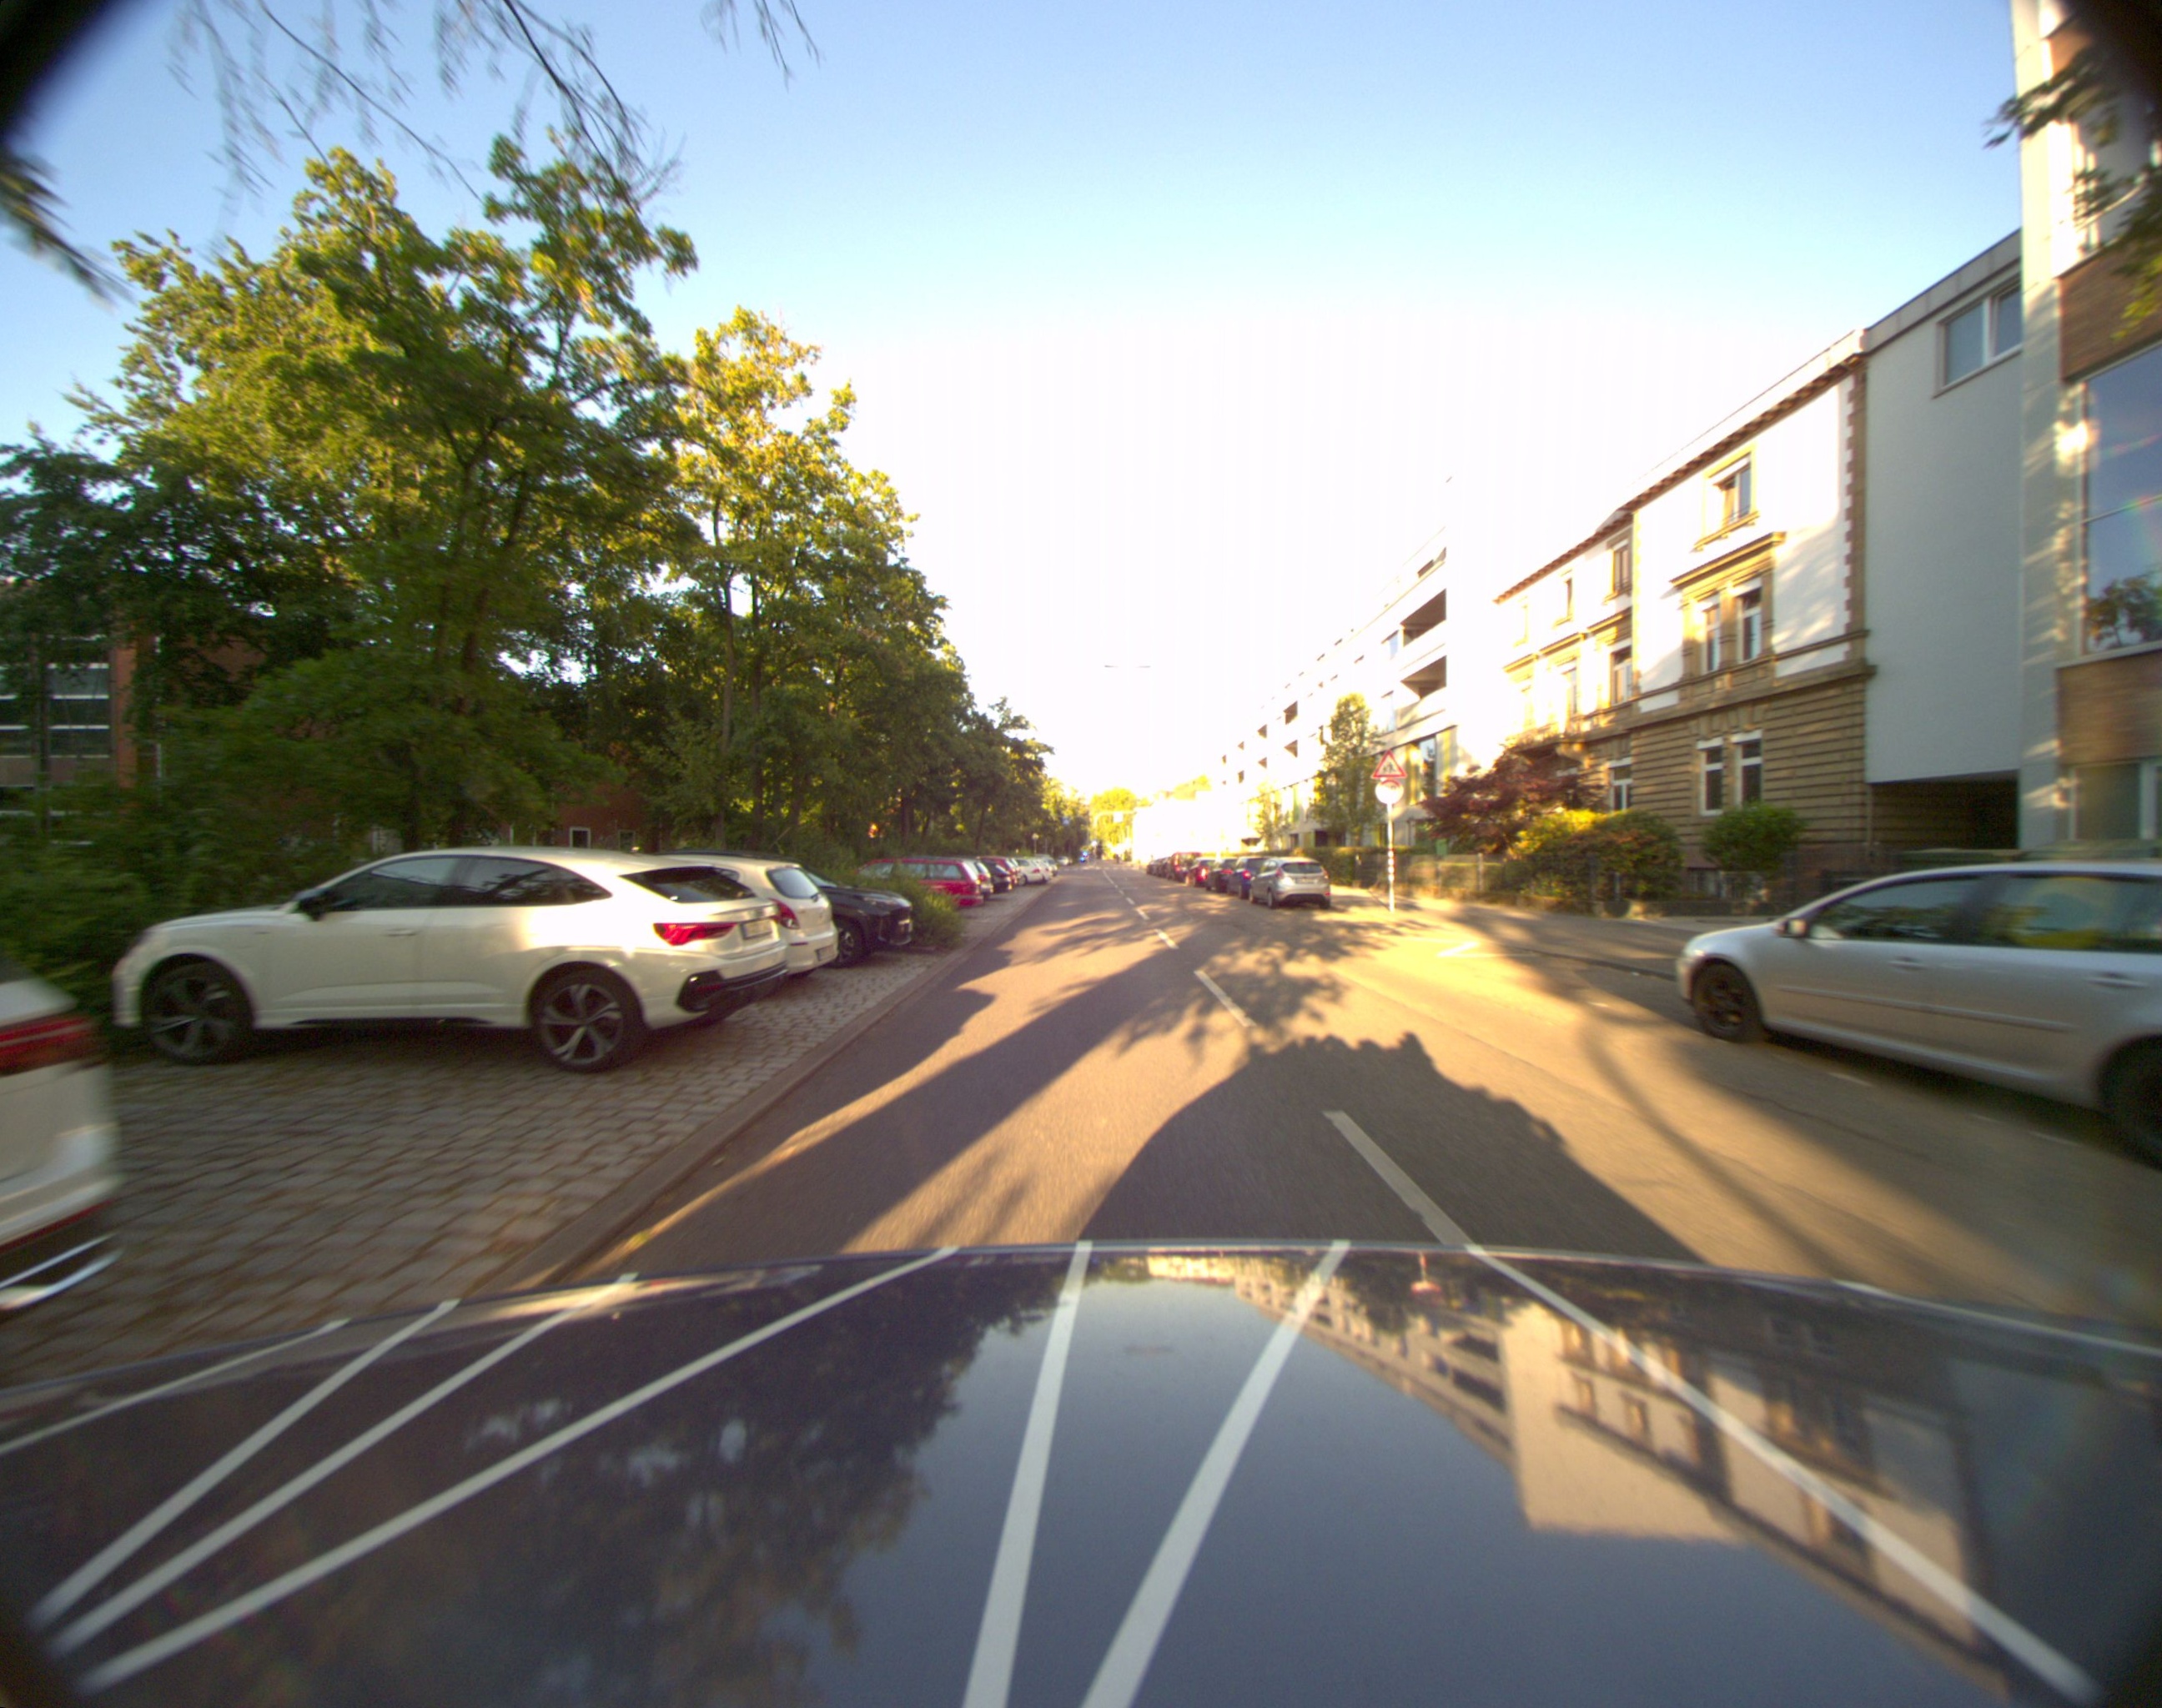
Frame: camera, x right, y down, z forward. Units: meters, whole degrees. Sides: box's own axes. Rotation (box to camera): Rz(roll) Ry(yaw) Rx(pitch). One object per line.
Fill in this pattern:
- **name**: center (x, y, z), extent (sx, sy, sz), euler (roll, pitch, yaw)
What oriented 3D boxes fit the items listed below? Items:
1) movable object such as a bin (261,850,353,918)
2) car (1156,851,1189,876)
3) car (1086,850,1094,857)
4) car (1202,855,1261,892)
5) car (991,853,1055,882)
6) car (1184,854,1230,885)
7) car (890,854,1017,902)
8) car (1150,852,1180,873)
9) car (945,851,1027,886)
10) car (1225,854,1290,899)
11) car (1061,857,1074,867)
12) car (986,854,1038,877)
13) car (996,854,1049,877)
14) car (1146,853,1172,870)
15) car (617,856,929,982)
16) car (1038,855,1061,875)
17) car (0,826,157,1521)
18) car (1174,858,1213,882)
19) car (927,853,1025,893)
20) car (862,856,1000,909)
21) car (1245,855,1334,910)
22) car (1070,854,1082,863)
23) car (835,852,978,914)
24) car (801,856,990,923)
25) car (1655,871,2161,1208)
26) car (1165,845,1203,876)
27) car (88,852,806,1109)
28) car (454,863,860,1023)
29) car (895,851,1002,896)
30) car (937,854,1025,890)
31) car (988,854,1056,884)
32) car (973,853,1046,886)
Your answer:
- **movable object such as a bin**: center (-16.633, 0.627, 16.354), extent (0.964, 1.430, 0.984), euler (0, 0, 3)
- **car**: center (6.352, 0.626, 53.240), extent (1.746, 1.666, 4.416), euler (-1, 0, 0)
- **car**: center (2.487, -0.128, 217.314), extent (2.228, 2.002, 4.890), euler (-1, 0, 1)
- **car**: center (6.241, 0.775, 31.853), extent (1.602, 1.446, 4.055), euler (1, 0, 0)
- **car**: center (-3.399, 0.798, 45.239), extent (3.619, 1.516, 1.671), euler (3, 0, -1)
- **car**: center (6.269, 0.756, 38.121), extent (1.602, 1.447, 3.861), euler (0, 0, 0)
- **car**: center (-4.446, 0.813, 26.951), extent (4.131, 1.466, 1.831), euler (2, 1, -1)
- **car**: center (6.504, 0.658, 58.959), extent (1.746, 1.525, 4.115), euler (-1, 0, -1)
- **car**: center (-4.647, 0.715, 37.593), extent (3.734, 1.490, 1.820), euler (3, 1, 1)
- **car**: center (6.254, 0.766, 27.300), extent (1.602, 1.499, 3.788), euler (1, 0, 3)
- **car**: center (-2.096, 1.243, 117.901), extent (1.752, 1.478, 4.177), euler (0, 0, 4)
- **car**: center (-4.681, 0.795, 51.732), extent (3.393, 1.516, 1.671), euler (0, 0, 1)
- **car**: center (-4.168, 0.811, 54.238), extent (3.636, 1.531, 1.672), euler (0, 0, 1)
- **car**: center (6.475, 0.625, 63.506), extent (1.746, 1.349, 4.396), euler (0, 0, 1)
- **car**: center (-4.230, 0.858, 10.897), extent (3.754, 1.585, 1.696), euler (-1, 0, -1)
- **car**: center (-2.573, 0.862, 61.211), extent (1.655, 1.558, 4.299), euler (0, 0, -5)
- **car**: center (-4.776, 0.817, 1.309), extent (4.180, 1.700, 1.867), euler (-1, 0, 3)
- **car**: center (6.326, 0.862, 43.037), extent (1.560, 1.272, 3.733), euler (1, 0, 0)
- **car**: center (-4.424, 0.801, 32.413), extent (3.817, 1.466, 1.757), euler (3, 0, 1)
- **car**: center (-4.701, 0.870, 24.136), extent (3.933, 1.445, 1.832), euler (2, 1, 2)
- **car**: center (6.119, 0.802, 22.724), extent (1.605, 1.485, 3.772), euler (1, 0, 0)
- **car**: center (-0.823, 0.731, 124.149), extent (1.752, 1.478, 4.510), euler (0, 0, 3)
- **car**: center (-4.936, 0.806, 21.934), extent (3.722, 1.546, 1.741), euler (2, 1, -3)
- **car**: center (-4.617, 0.880, 19.373), extent (4.349, 1.466, 1.742), euler (2, -1, -1)
- **car**: center (5.795, 0.890, 4.555), extent (1.675, 1.485, 4.061), euler (1, 0, 1)
- **car**: center (6.457, 0.400, 47.970), extent (1.812, 1.878, 4.238), euler (1, 0, 0)
- **car**: center (-4.545, 0.847, 5.928), extent (4.132, 1.658, 1.723), euler (-1, 0, 1)
- **car**: center (-4.623, 0.925, 8.728), extent (3.598, 1.557, 1.818), euler (-1, 0, 0)
- **car**: center (-5.127, 0.739, 29.746), extent (3.817, 1.466, 1.831), euler (3, 1, 1)
- **car**: center (-4.550, 0.811, 34.963), extent (3.758, 1.387, 1.756), euler (3, 1, 1)
- **car**: center (-3.287, 0.832, 42.922), extent (3.676, 1.436, 1.735), euler (3, 0, -1)
- **car**: center (-3.749, 0.799, 40.207), extent (3.676, 1.543, 1.735), euler (3, 0, -1)
